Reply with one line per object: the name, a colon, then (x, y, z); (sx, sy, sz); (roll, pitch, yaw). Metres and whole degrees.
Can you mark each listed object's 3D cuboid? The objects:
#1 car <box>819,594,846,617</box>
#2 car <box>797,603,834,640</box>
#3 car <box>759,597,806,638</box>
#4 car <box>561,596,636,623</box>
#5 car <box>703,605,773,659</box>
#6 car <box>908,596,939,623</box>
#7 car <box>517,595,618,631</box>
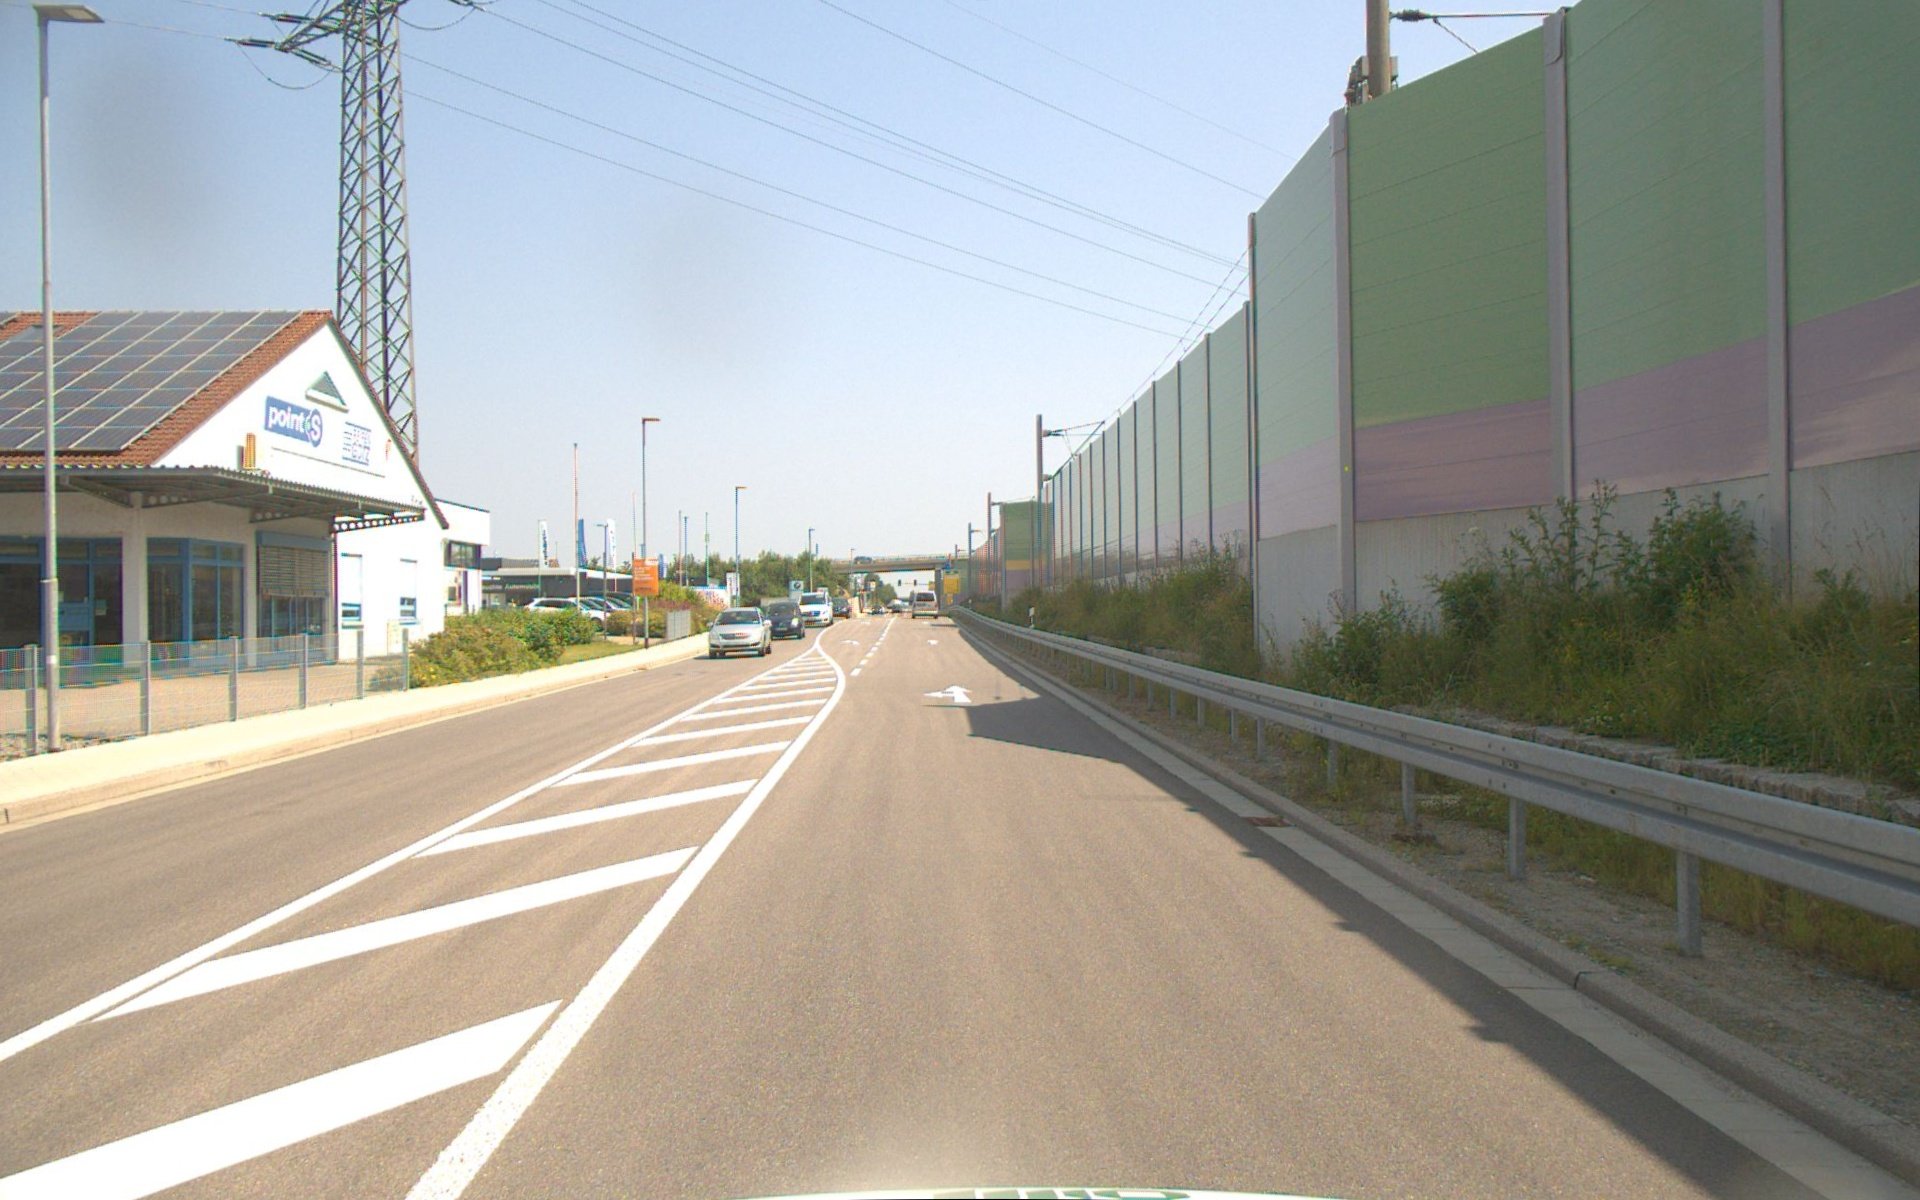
car: (-8.889, 0.377, 115.290); (1.637, 1.448, 3.998); (-2, 0, -2)
car: (-8.052, 1.190, 92.700); (1.954, 1.907, 5.164); (-2, 0, -5)
car: (-7.621, 0.732, 71.298); (1.635, 1.628, 3.971); (-3, 0, -2)
car: (-18.259, 0.466, 83.674); (3.440, 1.276, 1.503); (2, 0, -4)
car: (-6.798, 0.941, 50.966); (1.729, 1.491, 4.257); (-3, 0, -3)
car: (-2.392, 0.621, 110.476); (1.953, 1.788, 4.000); (-1, 0, 0)
car: (-17.692, 0.596, 74.696); (4.140, 1.481, 1.763); (2, 0, -4)
